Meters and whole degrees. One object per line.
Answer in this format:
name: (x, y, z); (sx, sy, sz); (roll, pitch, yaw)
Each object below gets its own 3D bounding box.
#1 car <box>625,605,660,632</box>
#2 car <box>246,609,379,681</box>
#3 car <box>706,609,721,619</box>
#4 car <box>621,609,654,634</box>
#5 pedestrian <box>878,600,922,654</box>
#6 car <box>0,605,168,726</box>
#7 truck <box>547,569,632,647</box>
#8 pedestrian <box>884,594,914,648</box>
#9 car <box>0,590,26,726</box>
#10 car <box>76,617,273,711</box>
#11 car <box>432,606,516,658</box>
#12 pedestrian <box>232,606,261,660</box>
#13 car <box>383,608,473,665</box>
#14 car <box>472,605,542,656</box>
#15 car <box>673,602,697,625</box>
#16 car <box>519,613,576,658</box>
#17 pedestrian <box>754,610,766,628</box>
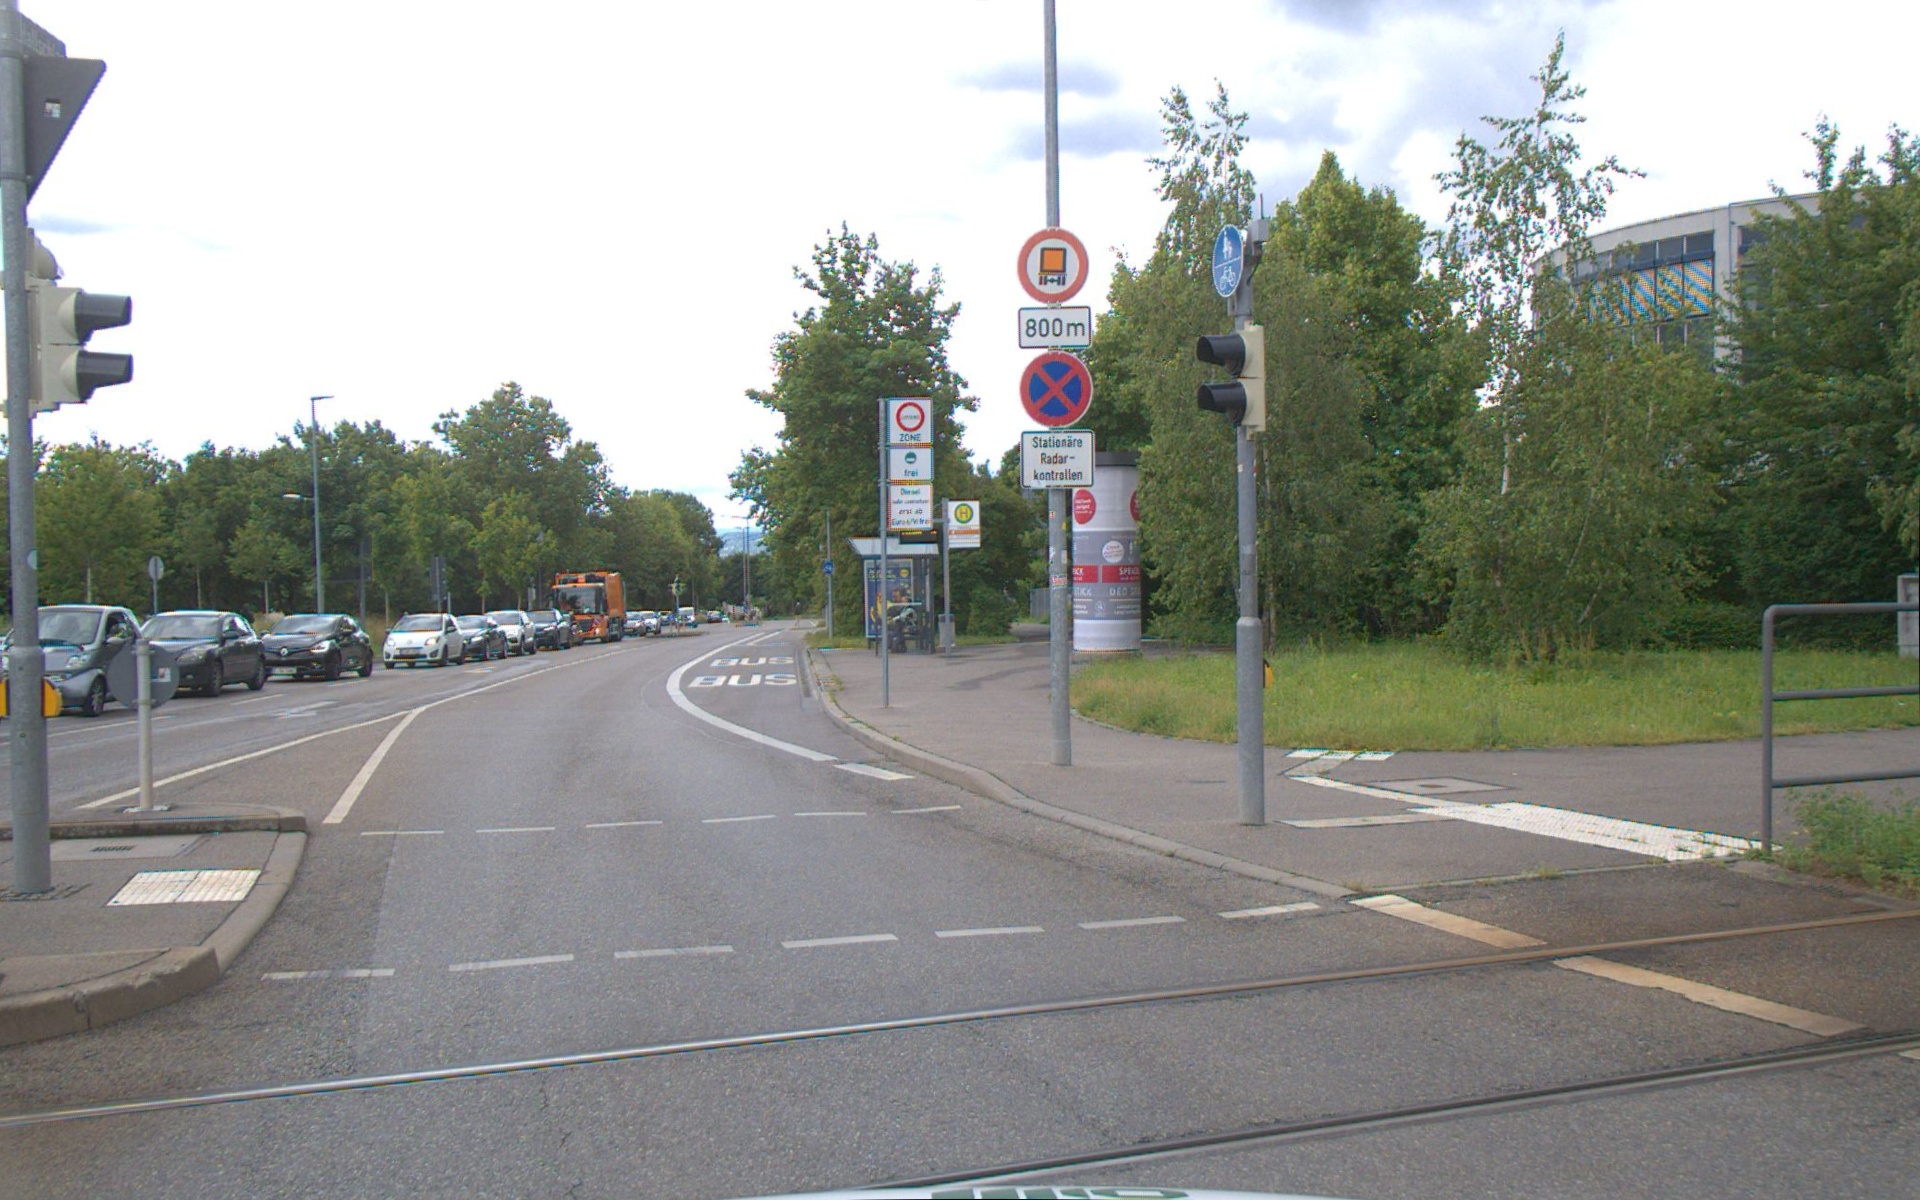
car: (-20.622, 1.195, 107.597); (1.811, 1.547, 4.809); (-4, 1, -6)
car: (-13.972, 0.935, 35.919); (1.608, 1.355, 4.056); (-2, 1, -6)
car: (-34.637, 2.002, 232.446); (1.737, 1.327, 3.995); (-1, 0, -6)
car: (-19.387, 1.269, 99.551); (1.518, 1.354, 3.649); (-4, 1, -6)
pedestrian: (-1.467, 0.654, 40.342); (0.759, 1.274, 0.771); (0, 1, 43)
car: (-12.653, 0.890, 23.844); (1.401, 1.553, 2.770); (-2, 1, -8)
truck: (-18.134, 0.291, 81.555); (2.653, 3.547, 9.985); (-2, 1, -5)
pedestrian: (-1.536, 0.533, 41.715); (0.714, 1.339, 0.589); (-1, 1, -4)
car: (-11.688, 0.711, 17.454); (1.793, 1.562, 4.211); (-2, 1, -9)
car: (-13.619, 1.061, 28.949); (1.765, 1.355, 4.374); (-2, 1, -7)
car: (-15.338, 0.973, 52.414); (1.608, 1.415, 4.879); (-2, 1, -6)
pedestrian: (-25.354, 1.179, 58.763); (0.707, 1.867, 0.677); (-2, 0, -5)
car: (-14.903, 0.993, 46.479); (1.608, 1.415, 3.758); (-2, 1, -6)
car: (-16.146, 1.061, 59.119); (1.697, 1.613, 4.218); (-2, 1, -6)
car: (-24.698, 1.188, 148.536); (1.811, 1.835, 4.644); (-4, 1, -6)
car: (-16.642, 1.392, 66.795); (1.608, 1.613, 4.056); (-2, 1, -6)
pedestrian: (-16.174, 1.538, 133.830); (0.778, 1.489, 0.743); (-2, 0, -24)
